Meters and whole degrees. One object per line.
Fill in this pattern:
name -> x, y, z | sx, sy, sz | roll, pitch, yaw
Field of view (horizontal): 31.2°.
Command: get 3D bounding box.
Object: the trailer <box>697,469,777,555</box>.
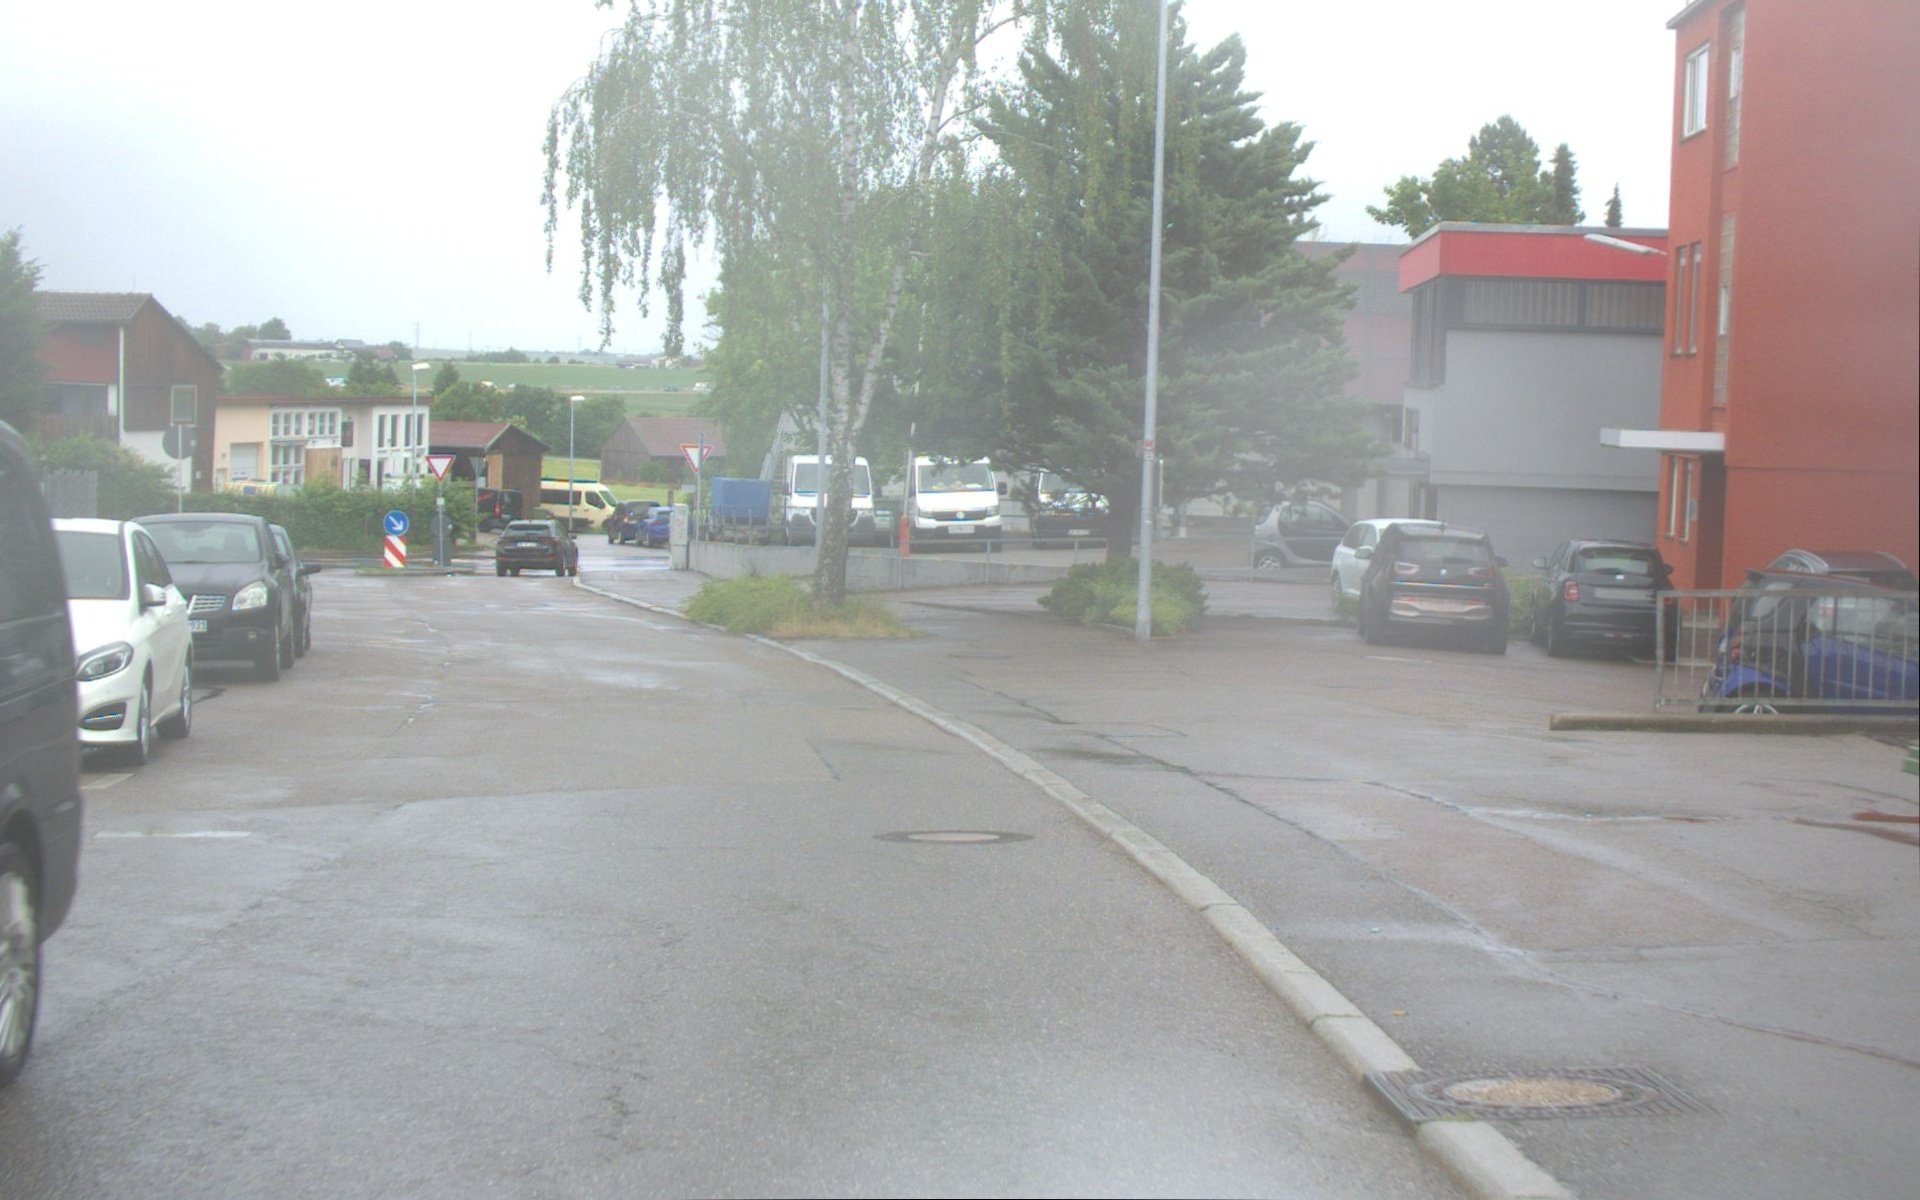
trailer -> -5.478, -2.152, 84.466 | 1.852, 2.007, 4.001 | 2, 1, -4

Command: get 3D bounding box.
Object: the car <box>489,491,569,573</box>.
car -> -11.253, -1.753, 89.870 | 1.869, 2.022, 4.001 | 1, 0, -5

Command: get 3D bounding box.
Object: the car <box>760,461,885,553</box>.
car -> -3.249, -2.144, 80.291 | 2.264, 2.007, 4.001 | 1, 0, -11

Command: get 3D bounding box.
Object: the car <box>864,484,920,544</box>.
car -> -1.713, -2.137, 86.228 | 1.290, 1.419, 2.546 | 1, 0, -3

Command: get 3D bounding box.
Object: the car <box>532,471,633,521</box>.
car -> -17.661, -4.850, 160.886 | 4.242, 2.218, 1.999 | 1, 0, 10

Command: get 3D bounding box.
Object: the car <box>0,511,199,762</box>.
car -> -6.129, 0.204, 22.754 | 1.769, 1.507, 4.146 | 1, 0, -8

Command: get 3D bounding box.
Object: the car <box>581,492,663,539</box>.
car -> -13.014, -3.248, 132.094 | 1.993, 1.698, 4.001 | 1, 0, -23

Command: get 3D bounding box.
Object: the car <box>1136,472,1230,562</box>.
car -> 5.271, -1.940, 81.491 | 1.781, 2.007, 3.633 | 1, 0, -3

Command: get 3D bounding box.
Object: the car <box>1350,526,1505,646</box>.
car -> 6.084, -0.180, 45.056 | 1.697, 1.470, 3.999 | 1, 0, 4

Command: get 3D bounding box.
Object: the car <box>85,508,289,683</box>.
car -> -7.563, -0.092, 33.927 | 1.700, 1.604, 4.001 | 0, 2, -9

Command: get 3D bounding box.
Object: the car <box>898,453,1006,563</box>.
car -> -0.218, -2.121, 80.512 | 2.192, 2.451, 4.001 | 1, 0, -4

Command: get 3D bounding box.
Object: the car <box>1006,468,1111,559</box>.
car -> 2.305, -2.012, 81.286 | 2.145, 2.007, 3.940 | 1, 0, -3

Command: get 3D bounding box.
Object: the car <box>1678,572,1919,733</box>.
car -> 7.502, 0.419, 27.082 | 3.401, 1.159, 1.791 | 2, 1, 6

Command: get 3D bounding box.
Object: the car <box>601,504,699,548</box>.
car -> -11.405, -2.709, 126.409 | 2.460, 1.534, 4.001 | 1, 0, -23

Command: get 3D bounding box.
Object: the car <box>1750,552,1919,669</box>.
car -> 11.448, 0.133, 44.502 | 1.729, 1.417, 3.999 | 1, 0, 4

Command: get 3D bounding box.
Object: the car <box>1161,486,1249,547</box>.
car -> 6.201, -2.102, 87.276 | 1.636, 1.448, 3.512 | 1, 0, -6

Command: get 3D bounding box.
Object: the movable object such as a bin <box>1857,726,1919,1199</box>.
movable object such as a bin -> 2.372, 0.826, 7.184 | 0.802, 1.075, 0.624 | 1, 1, -1

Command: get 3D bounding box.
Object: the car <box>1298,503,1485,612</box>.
car -> 6.543, -0.638, 52.516 | 2.065, 1.547, 4.001 | 1, 0, -4

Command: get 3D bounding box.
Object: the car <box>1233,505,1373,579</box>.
car -> 6.689, -1.136, 67.171 | 2.547, 1.347, 1.242 | 2, 1, -1

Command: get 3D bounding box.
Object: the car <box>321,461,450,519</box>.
car -> -19.926, -3.808, 119.315 | 3.987, 1.875, 2.000 | 2, 1, 4

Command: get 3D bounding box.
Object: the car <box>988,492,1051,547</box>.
car -> 1.494, -2.030, 87.003 | 1.398, 1.321, 2.701 | 1, 0, -3

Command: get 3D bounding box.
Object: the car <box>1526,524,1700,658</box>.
car -> 8.586, -0.116, 45.495 | 1.739, 1.648, 3.999 | 1, 0, 4

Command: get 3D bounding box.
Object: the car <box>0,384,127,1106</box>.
car -> -3.430, 0.403, 7.808 | 1.885, 1.880, 5.072 | 0, 1, -1
